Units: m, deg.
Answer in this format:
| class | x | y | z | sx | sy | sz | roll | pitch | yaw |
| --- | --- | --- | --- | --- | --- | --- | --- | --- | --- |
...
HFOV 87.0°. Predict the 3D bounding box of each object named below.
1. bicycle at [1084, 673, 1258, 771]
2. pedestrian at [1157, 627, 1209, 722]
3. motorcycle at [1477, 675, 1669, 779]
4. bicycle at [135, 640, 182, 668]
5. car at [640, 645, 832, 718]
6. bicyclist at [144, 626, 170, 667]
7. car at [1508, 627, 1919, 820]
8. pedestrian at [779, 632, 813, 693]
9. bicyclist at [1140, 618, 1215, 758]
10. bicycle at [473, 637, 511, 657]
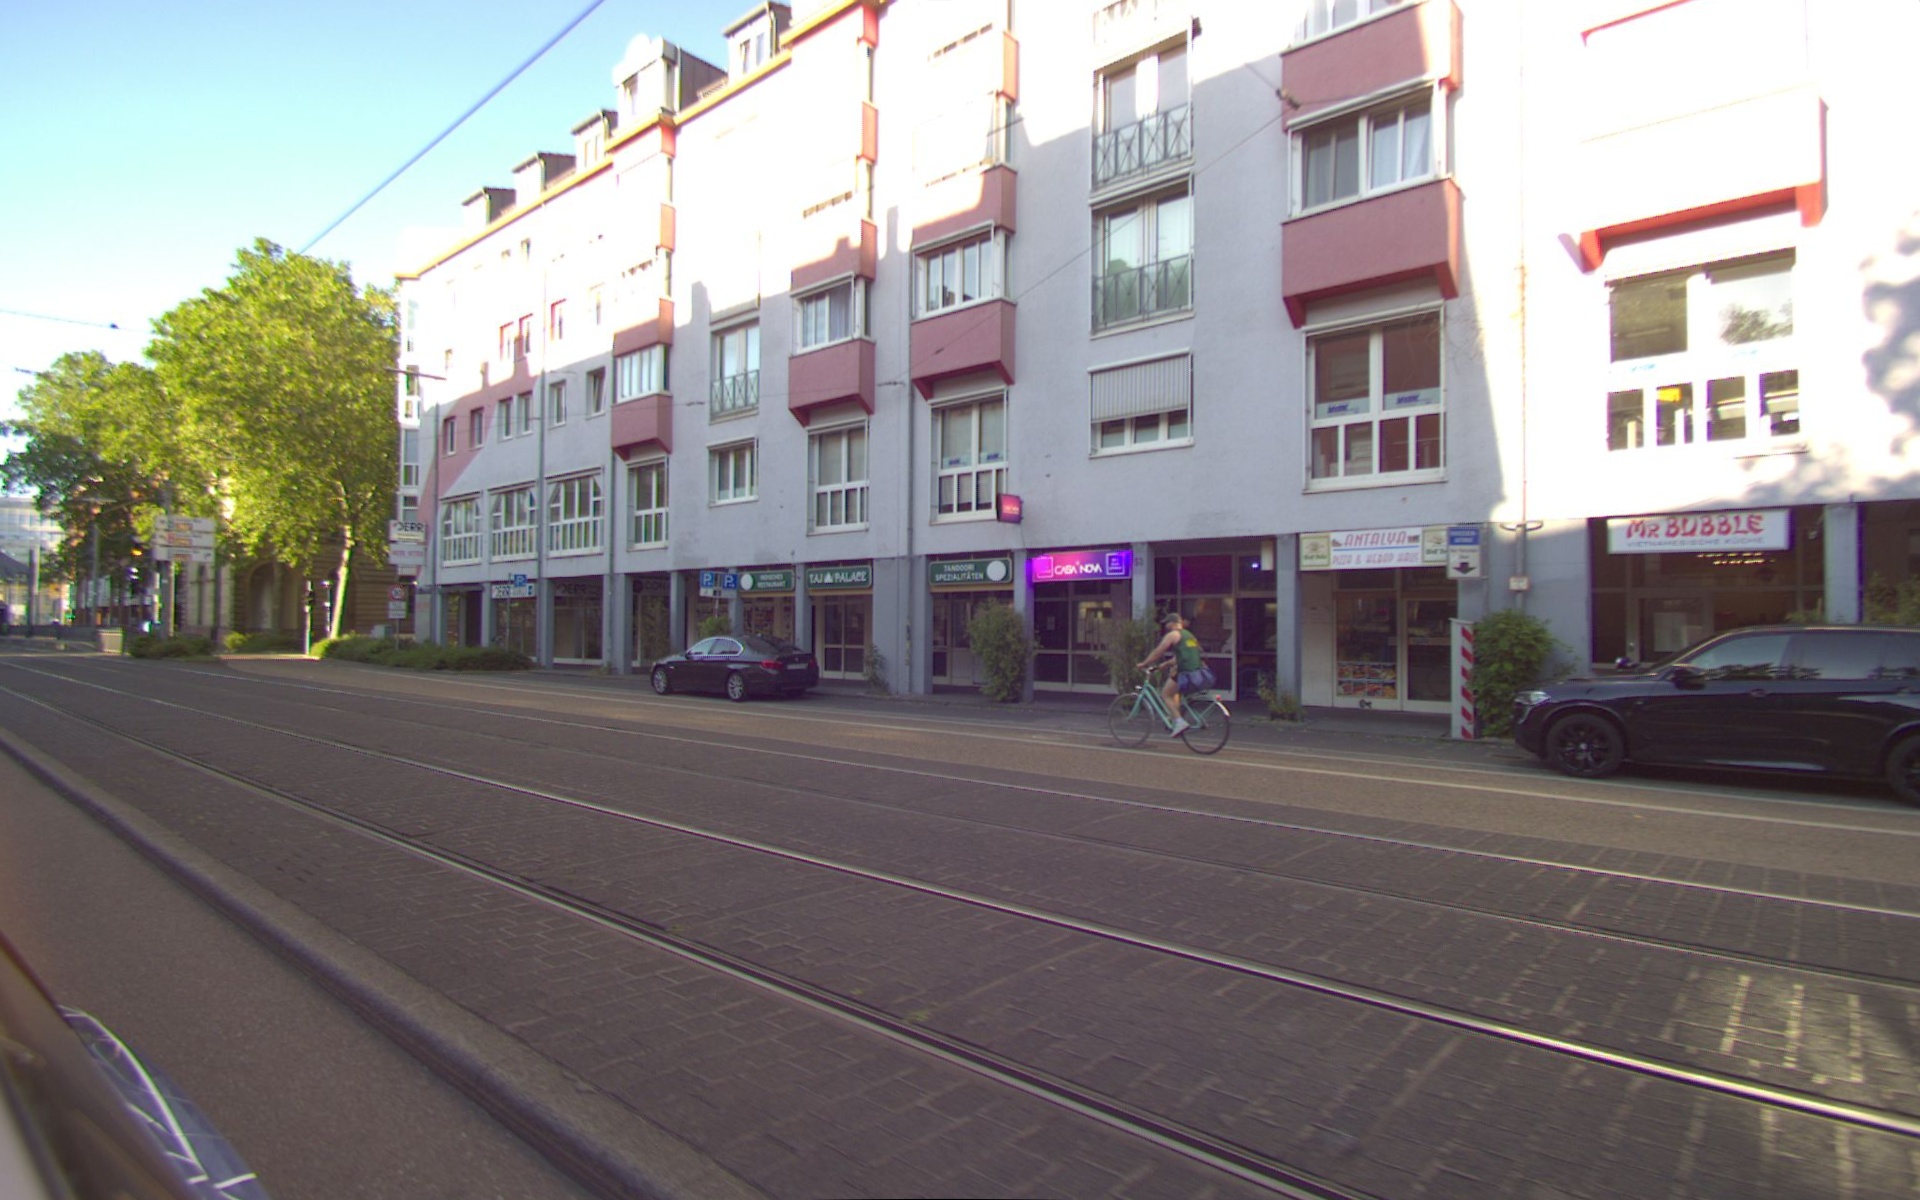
| class | x | y | z | sx | sy | sz | roll | pitch | yaw |
| --- | --- | --- | --- | --- | --- | --- | --- | --- | --- |
| bicycle | 2.671 | 1.524 | 13.011 | 2.185 | 1.086 | 0.576 | -1 | -5 | 42 |
| pedestrian | 4.179 | 1.371 | 18.935 | 0.745 | 1.725 | 0.608 | -2 | -3 | 39 |
| motorcycle | 8.161 | 1.660 | 13.594 | 2.128 | 1.214 | 0.666 | 0 | 0 | 25 |
| bicycle | -34.256 | 2.280 | 43.279 | 0.575 | 1.086 | 1.900 | -1 | 0 | -3 |
| car | -5.272 | 1.809 | 23.487 | 4.701 | 1.450 | 1.851 | -1 | -2 | 39 |
| bicyclist | -34.232 | 1.981 | 43.148 | 0.526 | 1.725 | 0.746 | 0 | -2 | -4 |
| car | 8.845 | 1.206 | 10.953 | 4.816 | 1.725 | 2.069 | 0 | 0 | 41 |
| pedestrian | -4.710 | 1.785 | 29.086 | 0.615 | 1.725 | 0.736 | -2 | -3 | 38 |
| bicyclist | 2.784 | 1.108 | 12.944 | 0.745 | 1.725 | 0.565 | -1 | -5 | 41 |
| bicycle | -17.046 | 1.706 | 36.853 | 1.806 | 0.663 | 0.451 | -1 | 0 | 36 |
